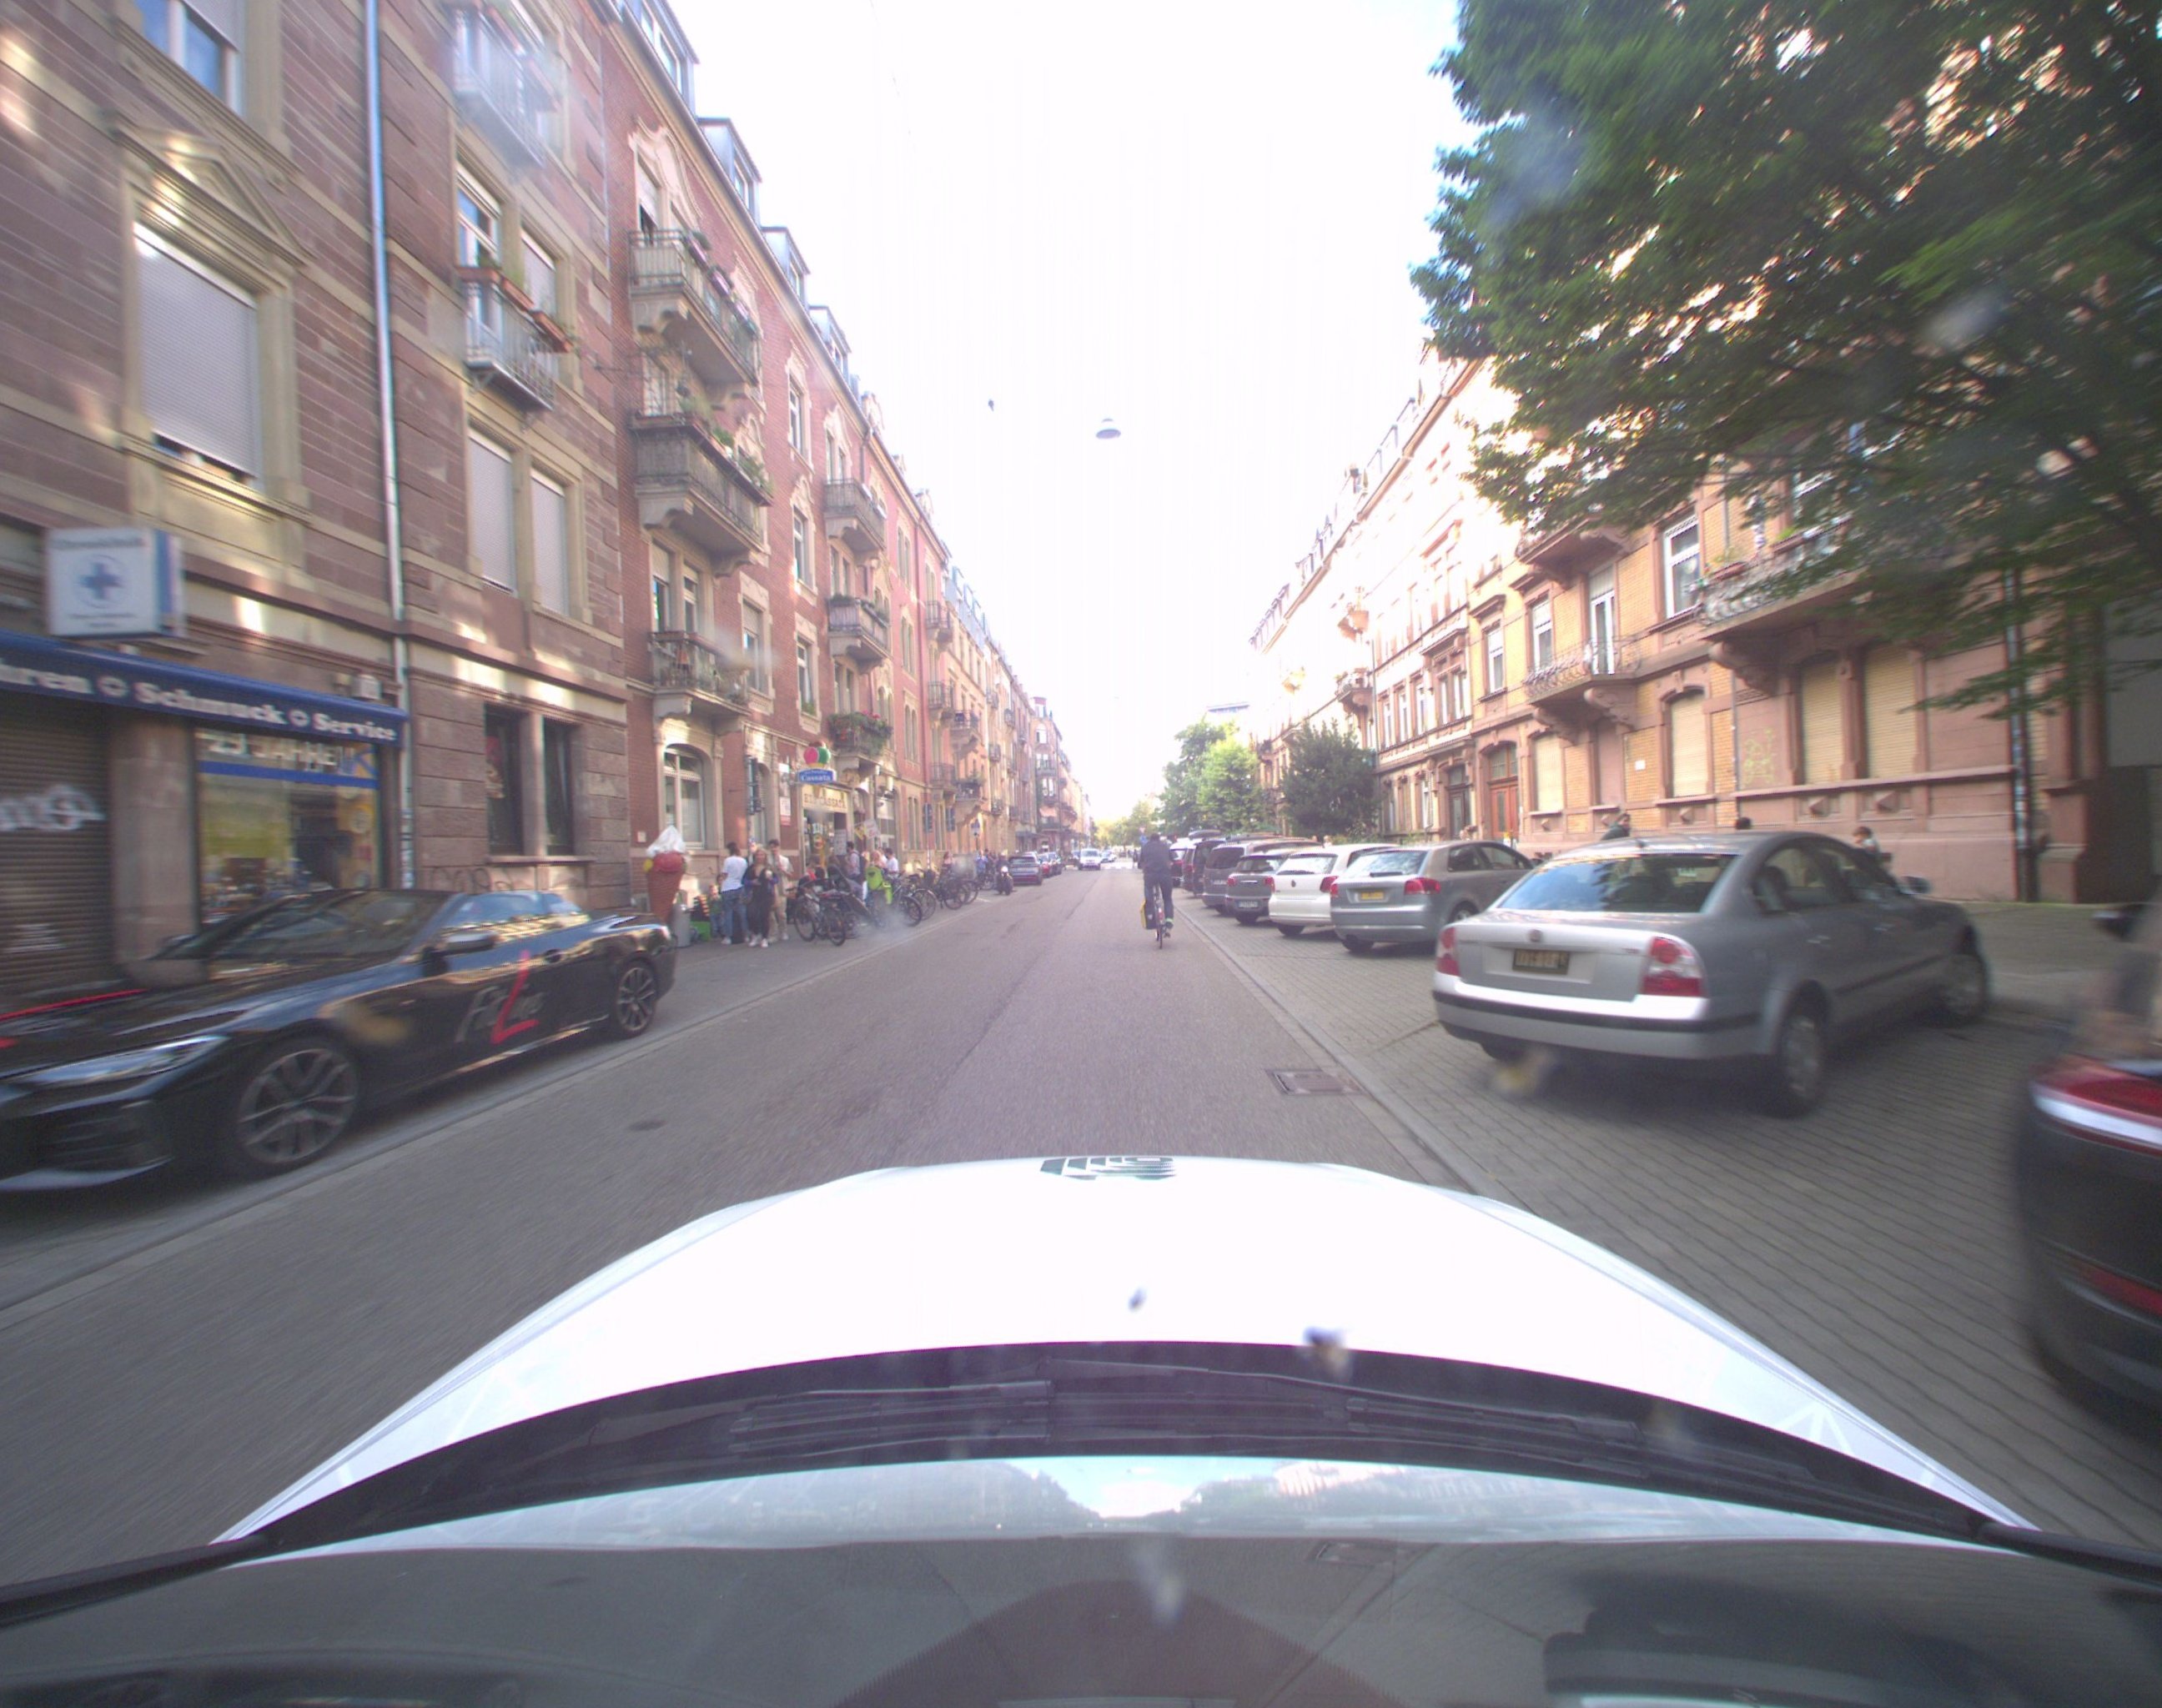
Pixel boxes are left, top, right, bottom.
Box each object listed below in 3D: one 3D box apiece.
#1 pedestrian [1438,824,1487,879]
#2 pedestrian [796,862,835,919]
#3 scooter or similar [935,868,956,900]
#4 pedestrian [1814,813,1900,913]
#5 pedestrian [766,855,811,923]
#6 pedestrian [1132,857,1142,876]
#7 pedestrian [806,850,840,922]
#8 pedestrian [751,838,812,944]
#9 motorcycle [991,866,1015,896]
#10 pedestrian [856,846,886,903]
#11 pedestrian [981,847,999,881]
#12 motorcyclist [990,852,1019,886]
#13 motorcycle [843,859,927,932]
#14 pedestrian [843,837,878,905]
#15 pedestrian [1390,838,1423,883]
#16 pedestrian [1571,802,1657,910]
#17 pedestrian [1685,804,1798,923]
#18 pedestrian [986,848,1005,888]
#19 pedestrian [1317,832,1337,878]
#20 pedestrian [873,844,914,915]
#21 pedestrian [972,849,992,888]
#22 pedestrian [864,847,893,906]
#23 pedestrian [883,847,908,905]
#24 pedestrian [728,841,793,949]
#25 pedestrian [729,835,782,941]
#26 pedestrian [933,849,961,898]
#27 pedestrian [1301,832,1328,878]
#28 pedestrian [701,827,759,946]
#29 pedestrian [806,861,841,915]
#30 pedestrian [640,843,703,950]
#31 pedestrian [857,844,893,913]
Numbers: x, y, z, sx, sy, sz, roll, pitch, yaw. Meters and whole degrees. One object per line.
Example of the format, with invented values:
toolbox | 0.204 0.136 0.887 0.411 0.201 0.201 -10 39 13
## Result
pedestrian | 10.963 -0.075 23.424 0.926 1.497 0.811 -3 0 -5
pedestrian | -6.310 0.847 19.370 0.721 1.313 0.606 -1 0 -1
scooter or similar | -4.640 1.030 27.884 0.604 1.055 0.921 -1 0 -3
pedestrian | 10.363 0.120 10.880 0.573 1.280 0.712 0 -1 -36
pedestrian | -6.494 0.765 18.106 0.600 1.470 0.728 -1 0 13
pedestrian | 5.167 1.138 75.178 0.624 1.739 0.779 -3 0 15
pedestrian | -5.913 0.727 18.668 0.551 1.616 0.584 -1 0 2
pedestrian | -5.320 0.642 14.491 0.753 1.818 0.670 -1 0 32
motorcycle | -2.879 0.981 30.222 0.792 0.995 2.496 -1 0 -4
pedestrian | -6.382 0.619 24.788 0.661 1.696 0.764 -1 0 2
pedestrian | -4.816 0.534 43.197 0.752 1.808 0.864 -1 0 6
motorcyclist | -2.859 0.541 30.431 1.011 1.245 0.802 -1 0 -4
motorcycle | -3.964 0.803 16.665 0.701 1.384 2.033 -1 0 17
pedestrian | -6.129 0.458 22.623 0.765 1.854 0.659 -1 0 -29
pedestrian | 9.407 0.190 23.554 0.598 1.219 0.674 -5 0 2
pedestrian | 8.488 0.035 13.003 0.729 1.634 0.833 -3 -1 0
pedestrian | 8.853 0.111 10.931 0.723 1.502 0.993 -3 1 -36
pedestrian | -3.726 0.612 35.313 0.567 1.709 0.661 -1 0 -33
pedestrian | 9.073 0.045 30.036 0.571 1.659 0.633 -1 0 3
pedestrian | -4.751 0.626 20.640 0.600 1.751 0.949 -1 0 15
pedestrian | -4.308 0.641 35.463 0.683 1.661 0.546 -1 0 -28
pedestrian | -5.981 0.650 24.034 0.667 1.696 0.580 -1 0 -28
pedestrian | -5.594 0.646 24.538 0.567 1.696 0.641 -1 0 -29
pedestrian | -5.407 0.663 13.744 0.753 1.759 0.670 -1 0 32
pedestrian | -5.967 0.602 14.934 0.640 1.892 0.605 -1 0 32
pedestrian | -4.705 0.674 28.696 0.910 1.661 0.826 -1 0 -6
pedestrian | 8.786 0.046 30.669 0.651 1.695 0.691 -1 0 -41
pedestrian | -6.127 0.555 14.230 0.637 2.013 0.634 -2 0 30
pedestrian | -6.501 0.851 20.575 0.715 1.313 0.439 -1 0 -2
pedestrian | -6.945 0.696 13.819 0.681 1.759 0.670 -1 0 32
pedestrian | -5.359 0.630 21.241 0.600 1.751 0.728 -1 0 13
